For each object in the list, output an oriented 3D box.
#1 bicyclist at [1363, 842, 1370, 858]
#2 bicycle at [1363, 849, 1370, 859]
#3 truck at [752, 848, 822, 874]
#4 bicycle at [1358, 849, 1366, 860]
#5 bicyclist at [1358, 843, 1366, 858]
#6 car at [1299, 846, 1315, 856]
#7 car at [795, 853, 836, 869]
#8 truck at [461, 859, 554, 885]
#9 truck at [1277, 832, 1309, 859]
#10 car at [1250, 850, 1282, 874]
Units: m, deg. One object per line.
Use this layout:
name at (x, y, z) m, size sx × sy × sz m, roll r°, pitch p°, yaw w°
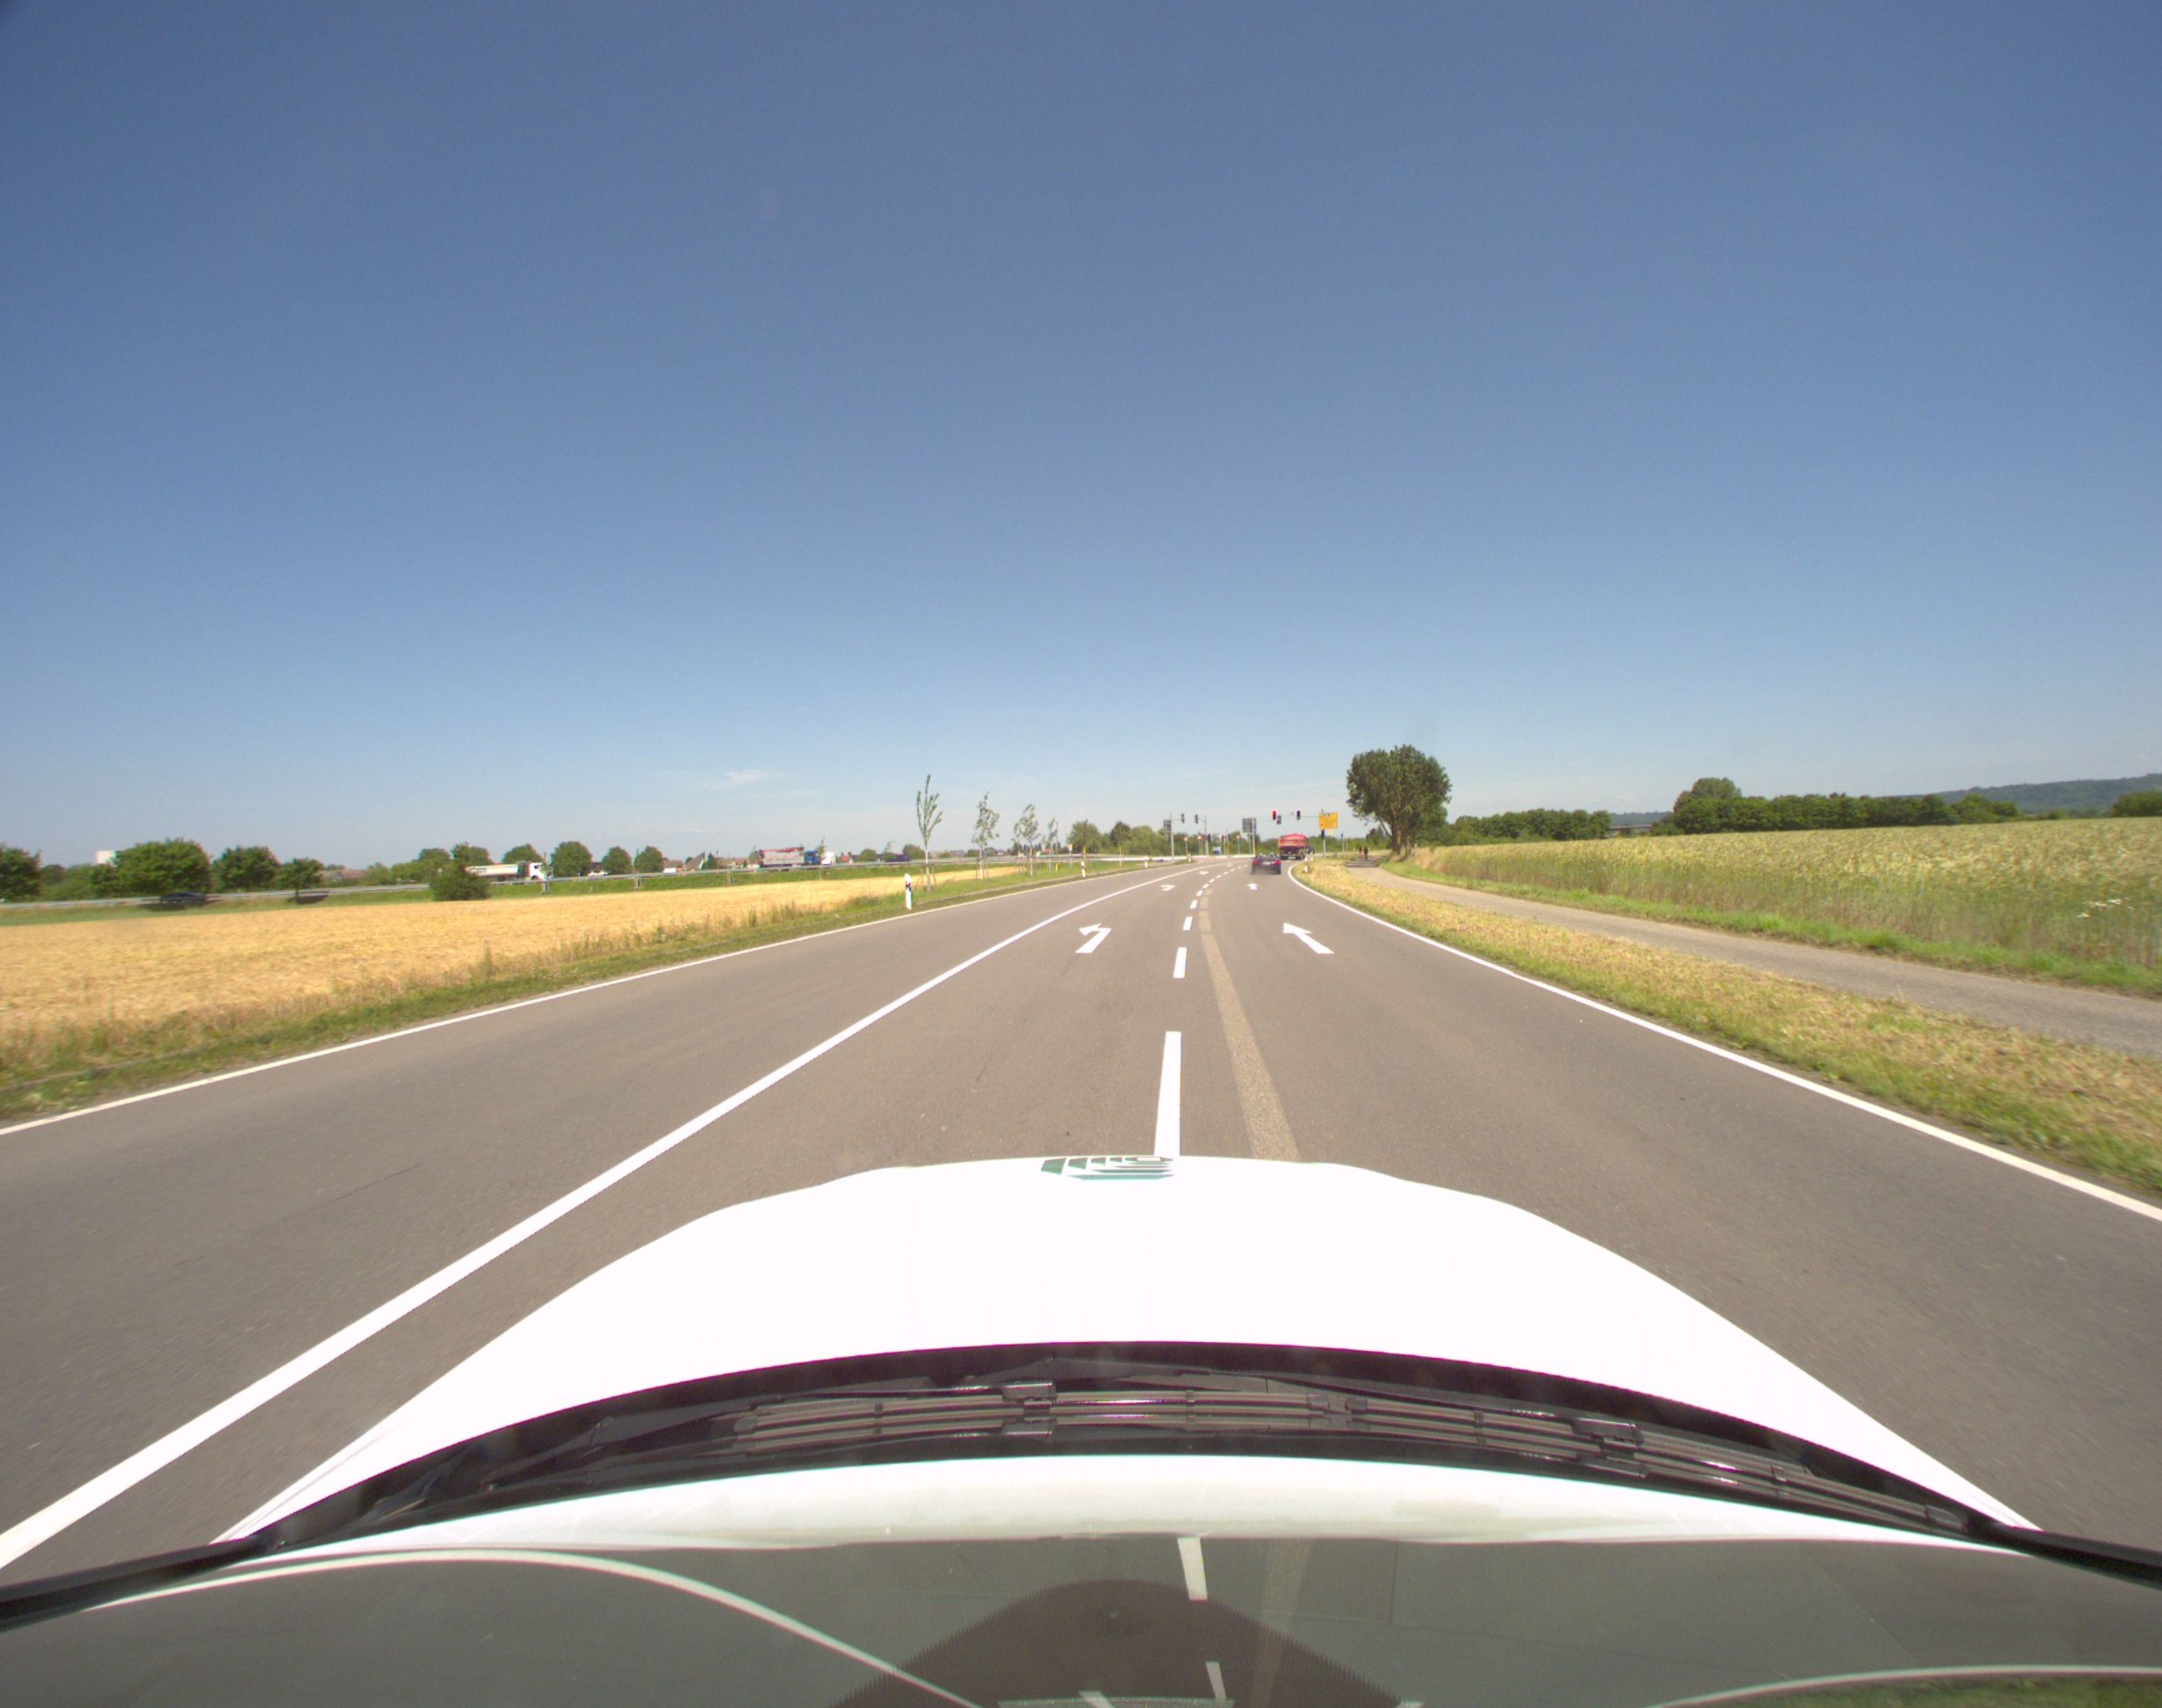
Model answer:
bicyclist at (33.053, -0.458, 94.255) m, size 0.622 × 1.782 × 0.983 m, roll 3°, pitch 2°, yaw 23°
bicycle at (33.092, -0.006, 94.335) m, size 0.692 × 1.210 × 2.062 m, roll 1°, pitch 1°, yaw 22°
truck at (-46.162, 1.063, 128.002) m, size 10.046 × 3.793 × 2.626 m, roll -1°, pitch 0°, yaw 0°
bicycle at (33.571, 0.052, 97.339) m, size 0.600 × 1.176 × 2.063 m, roll 2°, pitch 1°, yaw 26°
bicyclist at (33.591, -0.411, 97.349) m, size 0.582 × 1.734 × 1.179 m, roll 3°, pitch 2°, yaw 26°
car at (40.183, -0.602, 144.771) m, size 1.913 × 1.739 × 4.916 m, roll -1°, pitch 0°, yaw 24°
car at (-43.161, 1.099, 132.383) m, size 5.893 × 2.421 × 2.250 m, roll -1°, pitch 0°, yaw 3°
truck at (-89.144, 2.816, 126.757) m, size 11.964 × 3.614 × 2.979 m, roll -1°, pitch 0°, yaw -4°
truck at (25.486, -0.925, 97.660) m, size 2.691 × 3.053 × 8.206 m, roll -2°, pitch -1°, yaw 21°
car at (11.399, 0.509, 50.069) m, size 1.734 × 1.376 × 3.694 m, roll 0°, pitch -1°, yaw 15°
